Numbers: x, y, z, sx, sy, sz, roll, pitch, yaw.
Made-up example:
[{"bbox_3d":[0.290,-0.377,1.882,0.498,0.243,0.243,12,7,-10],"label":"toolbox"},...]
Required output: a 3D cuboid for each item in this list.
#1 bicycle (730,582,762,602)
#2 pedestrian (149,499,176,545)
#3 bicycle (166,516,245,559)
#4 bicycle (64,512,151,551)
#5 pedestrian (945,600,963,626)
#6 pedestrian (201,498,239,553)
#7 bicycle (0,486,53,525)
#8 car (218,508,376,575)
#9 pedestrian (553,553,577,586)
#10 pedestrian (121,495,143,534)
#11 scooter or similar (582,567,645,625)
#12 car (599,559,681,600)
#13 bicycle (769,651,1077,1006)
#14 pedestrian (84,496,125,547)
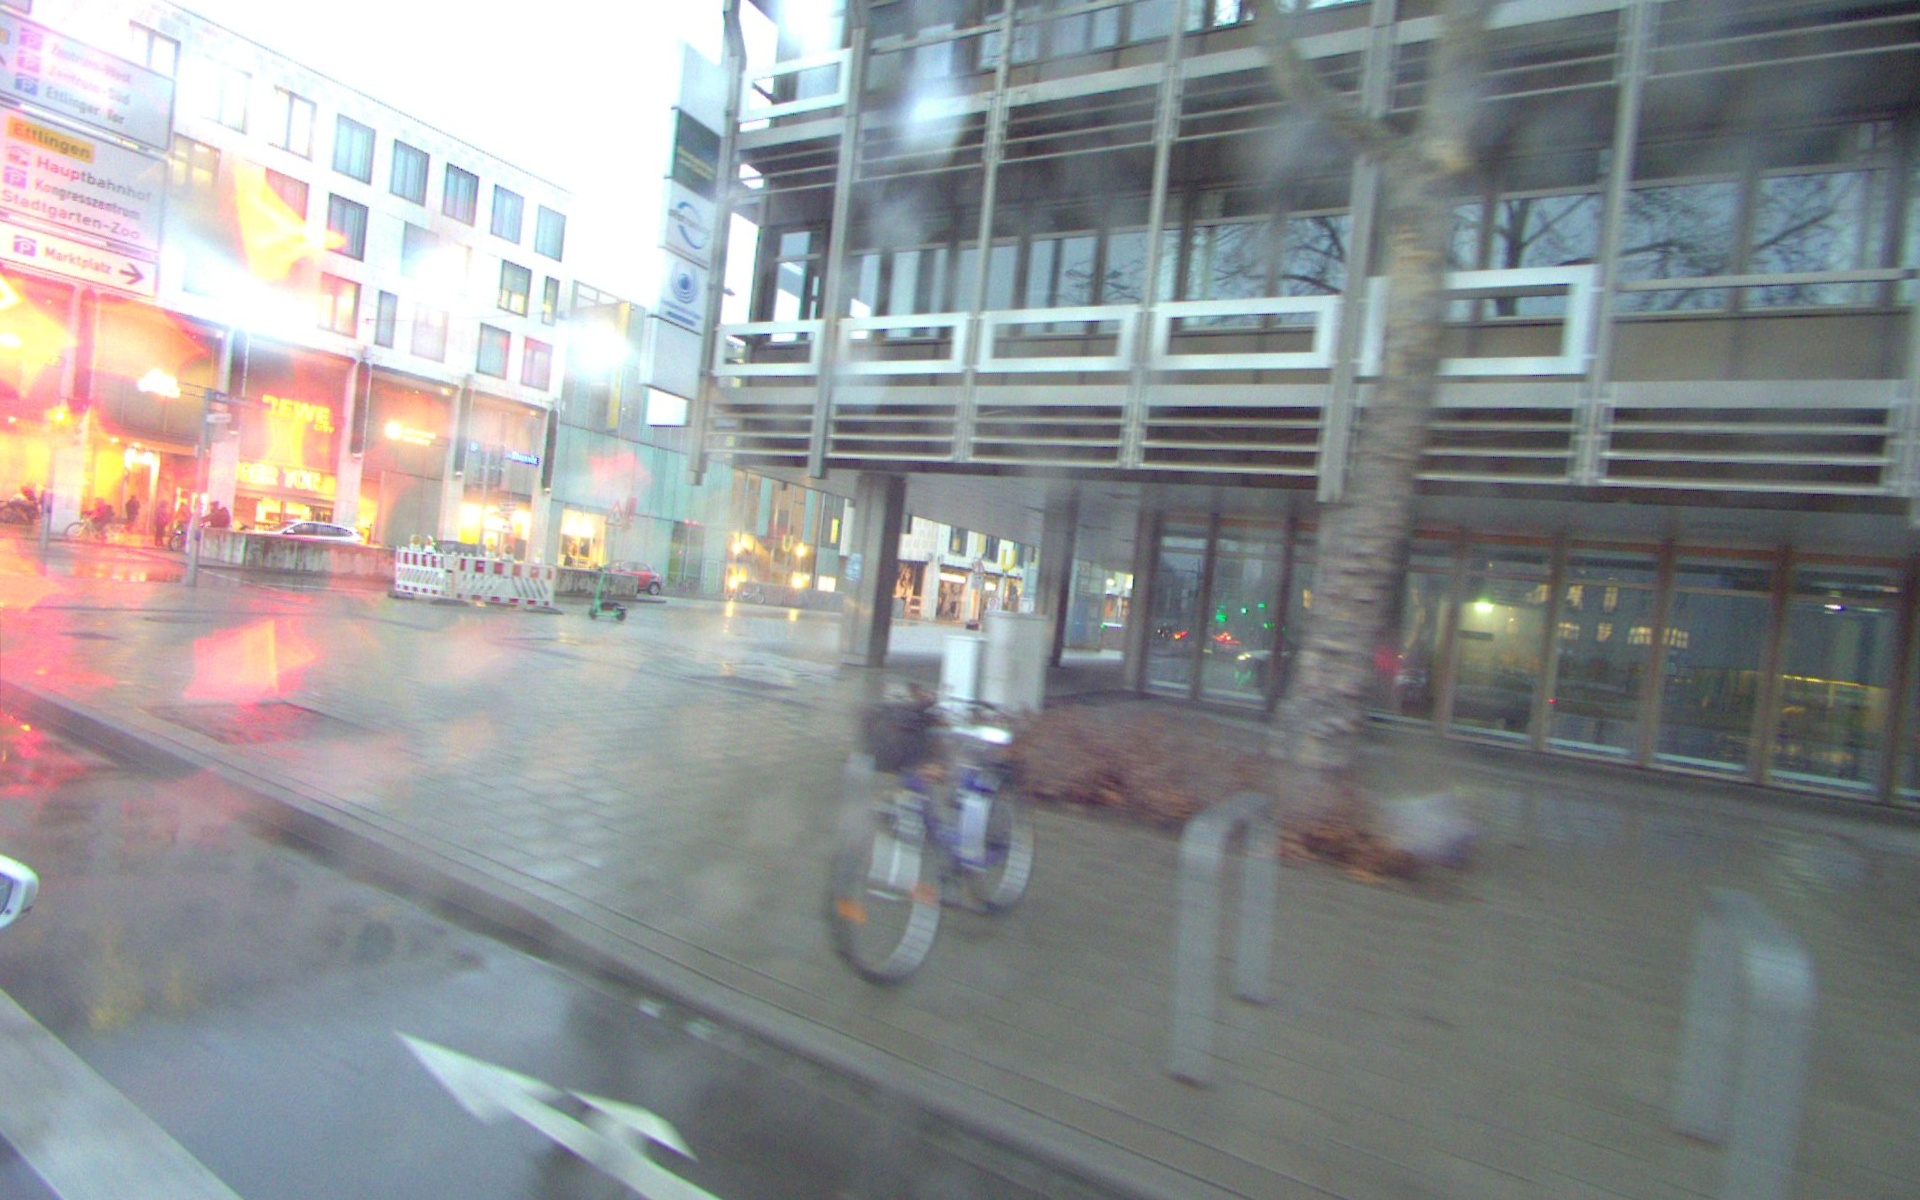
[{"bbox_3d":[-13.693,-0.519,64.275,2.102,1.046,0.616,7,1,34],"label":"bicycle"},{"bbox_3d":[-30.716,-2.991,38.750,0.529,1.706,0.546,6,1,-20],"label":"pedestrian"},{"bbox_3d":[-23.476,-1.937,31.326,1.839,1.107,0.610,6,1,-43],"label":"bicycle"},{"bbox_3d":[-28.964,-2.310,34.234,0.532,1.003,2.133,6,-2,28],"label":"bicycle"},{"bbox_3d":[-0.502,1.068,84.214,1.006,2.037,0.906,6,-1,33],"label":"pedestrian"},{"bbox_3d":[-23.190,-2.338,31.537,0.778,1.616,0.605,6,1,-43],"label":"pedestrian"},{"bbox_3d":[-38.782,-3.903,41.091,0.623,1.346,2.430,7,0,27],"label":"bicycle"},{"bbox_3d":[-23.604,-2.061,35.952,1.680,1.783,4.304,7,0,35],"label":"car"},{"bbox_3d":[-21.278,-1.647,54.153,0.698,1.651,0.795,6,-1,32],"label":"pedestrian"},{"bbox_3d":[-38.390,-3.960,46.662,0.529,1.739,0.500,6,1,-20],"label":"pedestrian"},{"bbox_3d":[-7.716,-0.100,22.410,1.215,1.144,0.605,7,1,32],"label":"scooter or similar"},{"bbox_3d":[-15.565,-0.965,49.076,1.648,1.602,3.574,6,0,30],"label":"car"},{"bbox_3d":[-0.061,0.841,4.367,0.428,1.163,1.752,7,2,27],"label":"bicycle"},{"bbox_3d":[-28.990,-2.649,34.102,0.527,1.590,0.816,7,1,28],"label":"pedestrian"}]
